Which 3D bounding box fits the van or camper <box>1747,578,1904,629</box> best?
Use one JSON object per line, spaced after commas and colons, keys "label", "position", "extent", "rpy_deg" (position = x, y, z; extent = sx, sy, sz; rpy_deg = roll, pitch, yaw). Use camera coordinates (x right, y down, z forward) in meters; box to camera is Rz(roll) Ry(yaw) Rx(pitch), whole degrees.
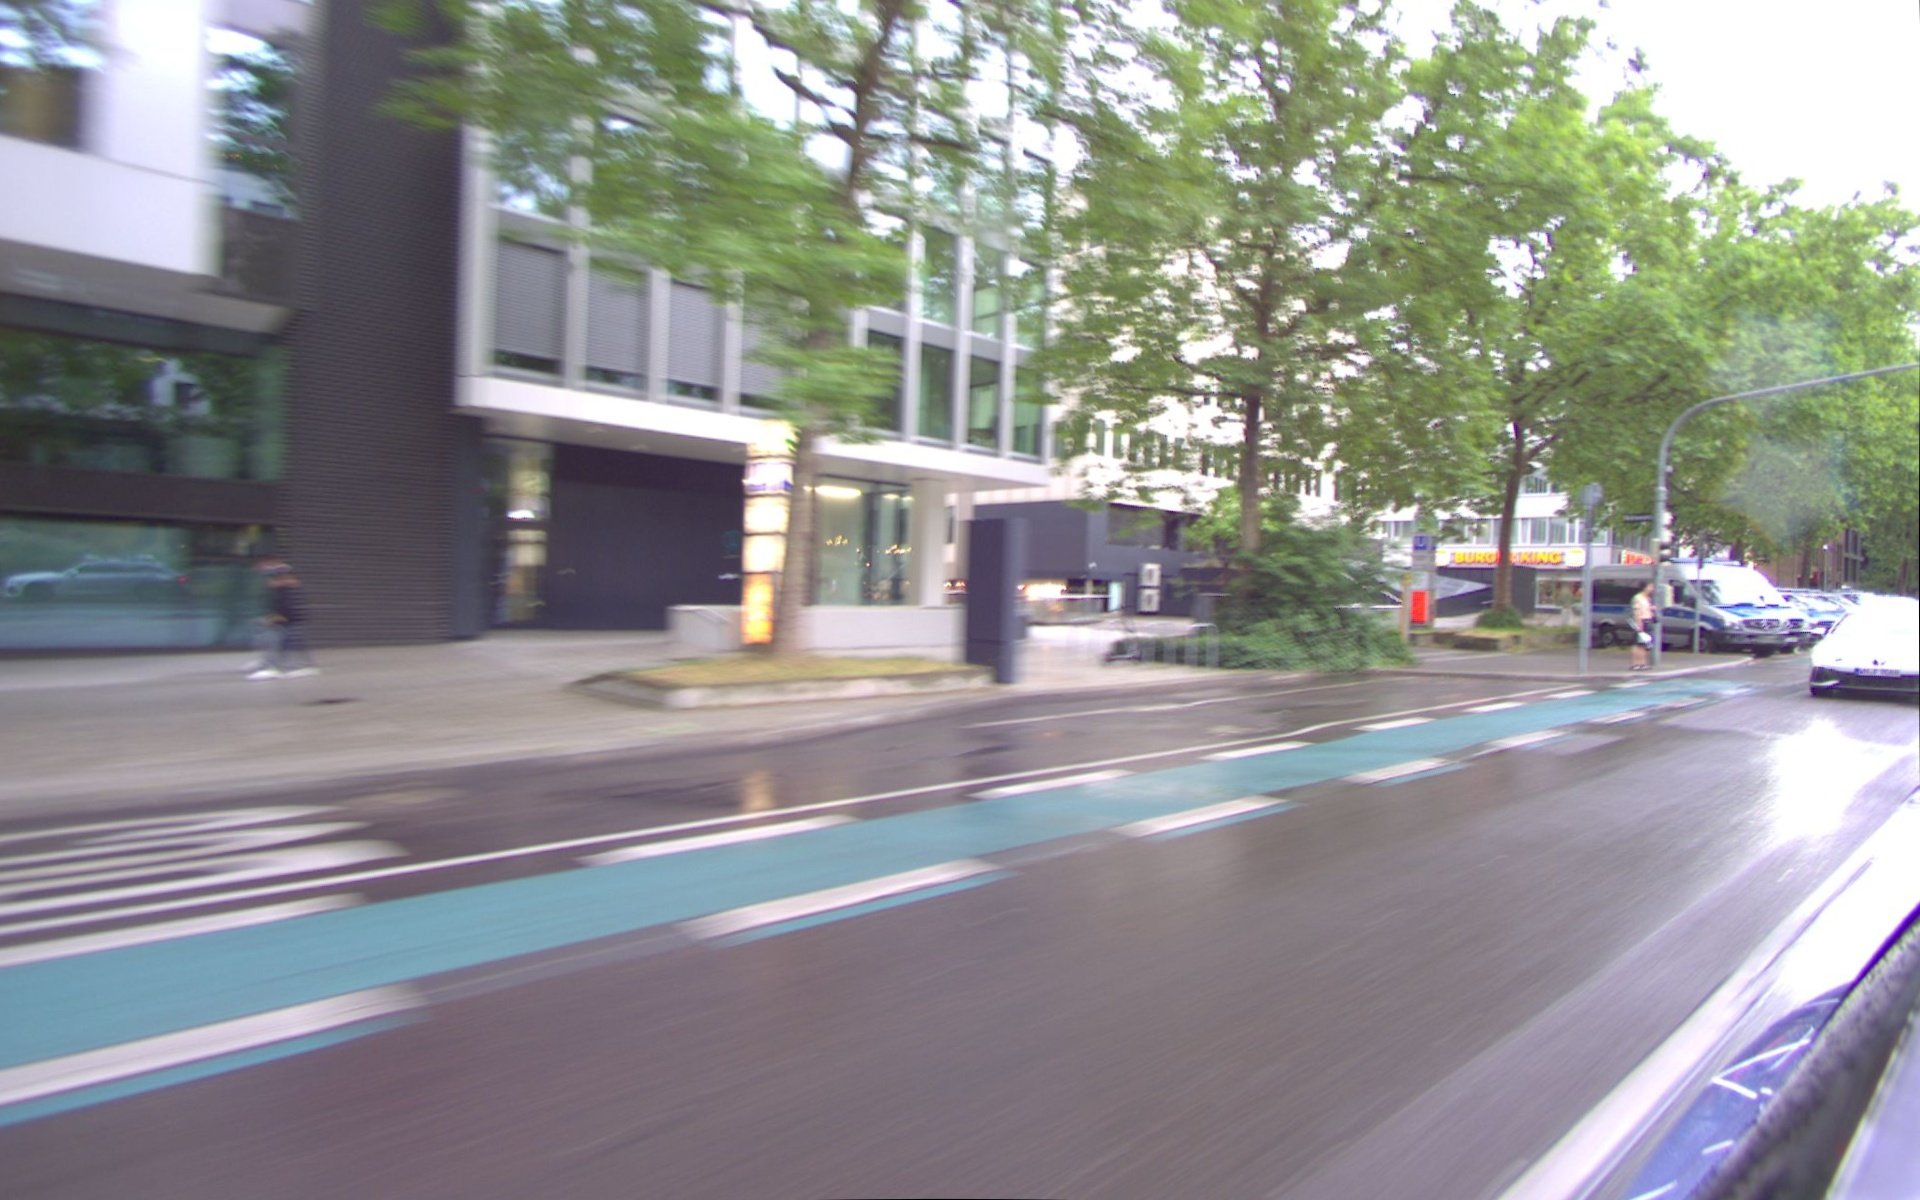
{"label": "van or camper", "position": [36.482, 0.114, 42.865], "extent": [1.959, 2.020, 5.032], "rpy_deg": [0, 1, -8]}

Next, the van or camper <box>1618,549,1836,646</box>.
{"label": "van or camper", "position": [23.429, -0.095, 31.317], "extent": [1.960, 2.714, 5.818], "rpy_deg": [0, 1, -5]}

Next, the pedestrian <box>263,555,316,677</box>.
{"label": "pedestrian", "position": [-10.229, 0.236, 15.442], "extent": [0.597, 1.816, 0.563], "rpy_deg": [0, 0, -43]}

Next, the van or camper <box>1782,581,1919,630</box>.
{"label": "van or camper", "position": [39.120, 0.217, 44.423], "extent": [1.960, 2.036, 4.799], "rpy_deg": [0, 0, -4]}

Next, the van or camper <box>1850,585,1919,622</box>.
{"label": "van or camper", "position": [52.275, 0.177, 55.744], "extent": [1.963, 2.017, 4.949], "rpy_deg": [-1, 0, -2]}

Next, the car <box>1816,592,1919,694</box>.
{"label": "car", "position": [15.253, 0.624, 16.283], "extent": [4.435, 1.463, 1.862], "rpy_deg": [0, -1, -45]}

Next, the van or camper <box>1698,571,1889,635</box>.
{"label": "van or camper", "position": [28.955, 0.106, 35.445], "extent": [1.960, 2.017, 5.214], "rpy_deg": [-1, 0, -6]}

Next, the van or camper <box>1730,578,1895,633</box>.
{"label": "van or camper", "position": [33.676, 0.191, 40.229], "extent": [2.065, 2.050, 5.111], "rpy_deg": [0, 0, -3]}

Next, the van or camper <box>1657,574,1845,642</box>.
{"label": "van or camper", "position": [25.820, 0.204, 33.327], "extent": [1.960, 2.039, 5.022], "rpy_deg": [-1, 1, -5]}

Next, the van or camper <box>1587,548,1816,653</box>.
{"label": "van or camper", "position": [21.088, -0.009, 29.211], "extent": [2.105, 2.711, 5.820], "rpy_deg": [0, 0, -3]}

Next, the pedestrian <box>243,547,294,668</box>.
{"label": "pedestrian", "position": [-11.067, 0.116, 16.193], "extent": [0.597, 1.878, 0.563], "rpy_deg": [0, 0, -43]}

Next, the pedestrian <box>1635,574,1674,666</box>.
{"label": "pedestrian", "position": [14.304, 0.395, 20.851], "extent": [0.605, 1.854, 0.556], "rpy_deg": [0, 0, 41]}

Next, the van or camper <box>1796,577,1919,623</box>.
{"label": "van or camper", "position": [41.965, -0.006, 47.148], "extent": [1.831, 2.023, 4.858], "rpy_deg": [0, 0, -4]}

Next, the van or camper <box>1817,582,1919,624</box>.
{"label": "van or camper", "position": [46.943, 0.171, 51.558], "extent": [1.957, 2.045, 5.091], "rpy_deg": [0, -1, -4]}
